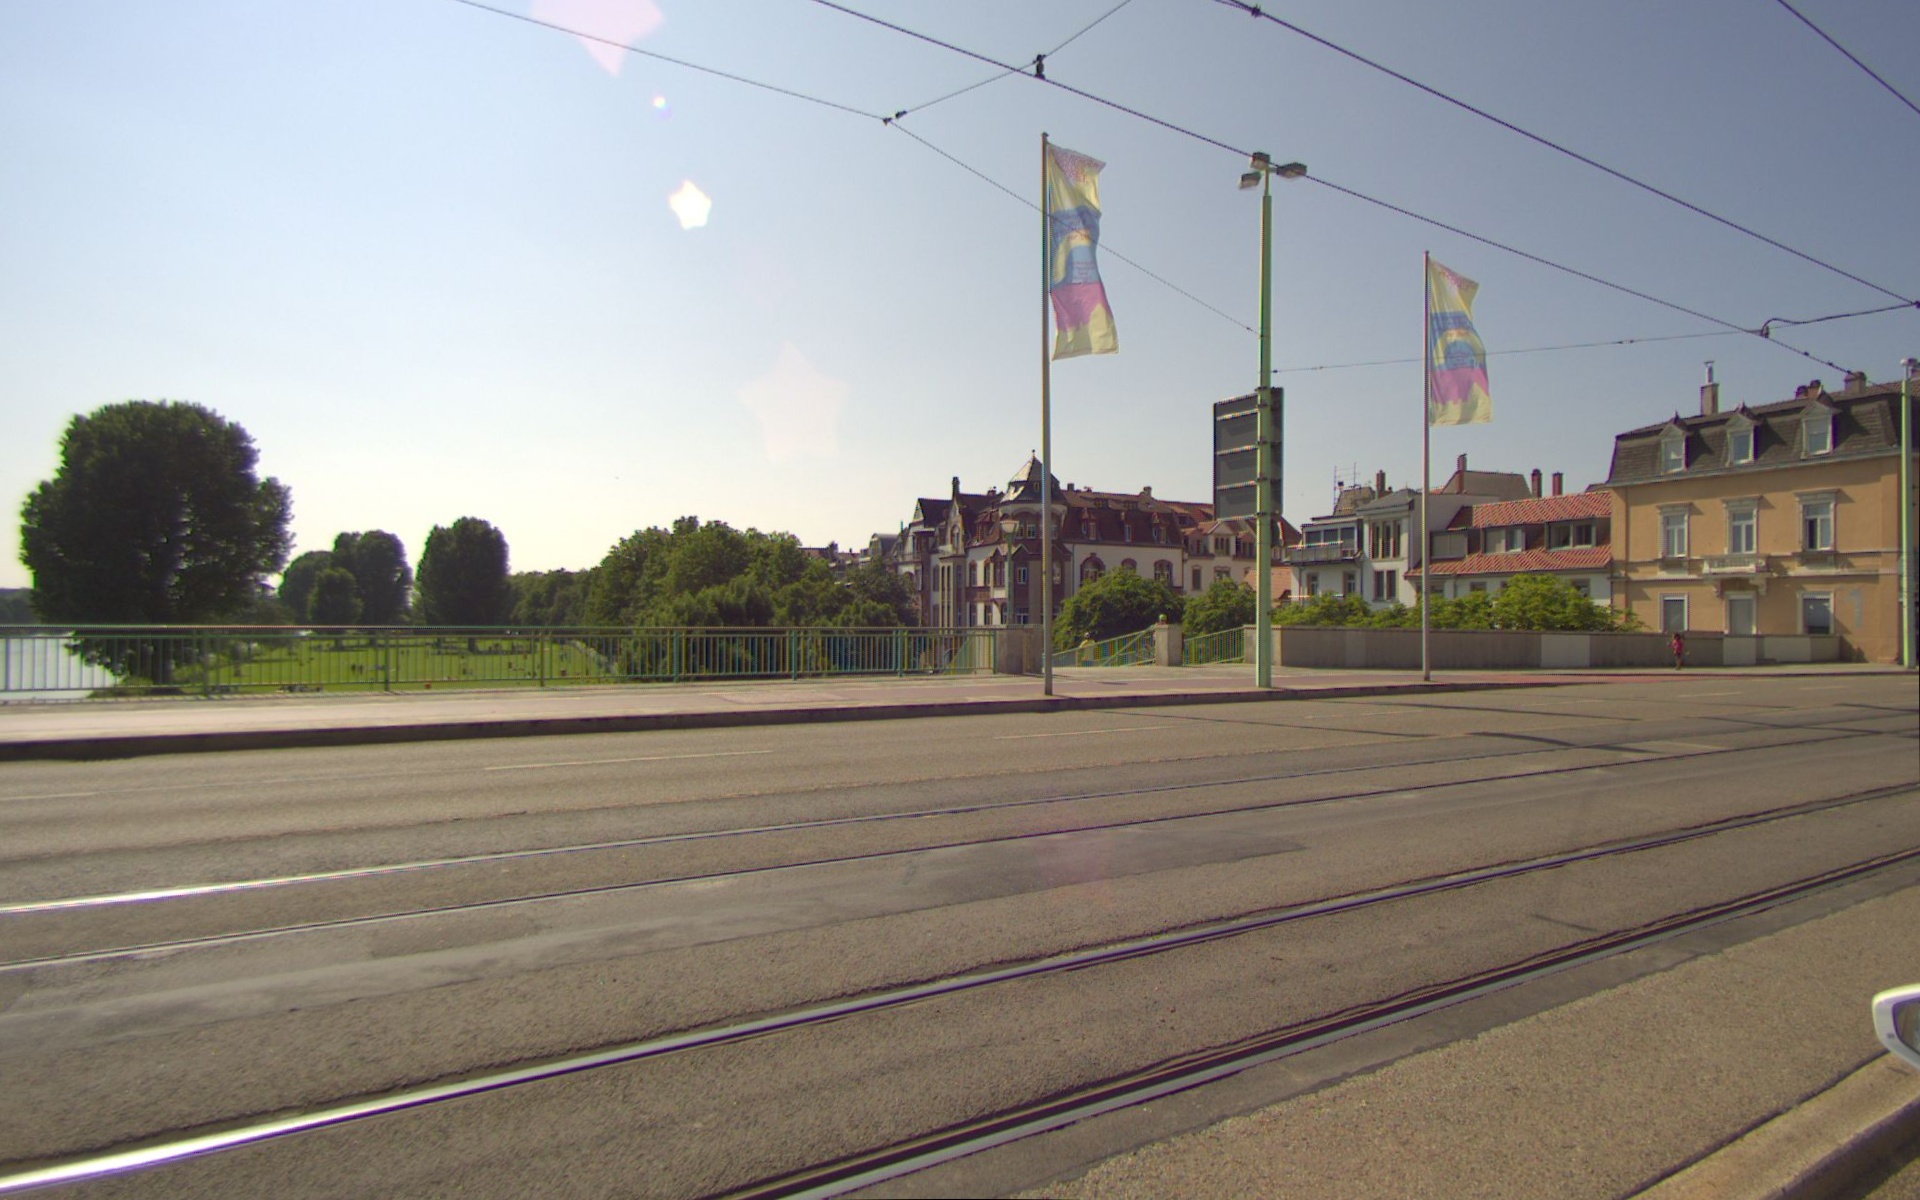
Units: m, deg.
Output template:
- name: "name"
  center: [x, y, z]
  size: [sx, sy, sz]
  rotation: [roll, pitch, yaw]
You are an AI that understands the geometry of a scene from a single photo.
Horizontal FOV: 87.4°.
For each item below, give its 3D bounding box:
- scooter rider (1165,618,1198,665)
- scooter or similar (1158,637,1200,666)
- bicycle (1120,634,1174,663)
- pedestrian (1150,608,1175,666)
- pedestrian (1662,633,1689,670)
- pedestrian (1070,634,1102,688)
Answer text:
- name: "scooter rider"
  center: [6.653, 1.231, 30.231]
  size: [0.589, 1.333, 0.767]
  rotation: [2, 3, -18]
- name: "scooter or similar"
  center: [6.598, 1.547, 30.245]
  size: [0.945, 0.793, 0.779]
  rotation: [2, 3, -19]
- name: "bicycle"
  center: [5.446, 1.407, 29.324]
  size: [0.613, 0.726, 1.923]
  rotation: [0, 1, -22]
- name: "pedestrian"
  center: [5.895, 1.065, 29.212]
  size: [0.407, 1.654, 0.624]
  rotation: [1, 1, -21]
- name: "pedestrian"
  center: [23.197, 1.663, 32.574]
  size: [0.537, 1.161, 0.411]
  rotation: [1, 3, -23]
- name: "pedestrian"
  center: [4.302, 2.079, 34.312]
  size: [0.791, 1.804, 0.743]
  rotation: [1, -1, -26]
